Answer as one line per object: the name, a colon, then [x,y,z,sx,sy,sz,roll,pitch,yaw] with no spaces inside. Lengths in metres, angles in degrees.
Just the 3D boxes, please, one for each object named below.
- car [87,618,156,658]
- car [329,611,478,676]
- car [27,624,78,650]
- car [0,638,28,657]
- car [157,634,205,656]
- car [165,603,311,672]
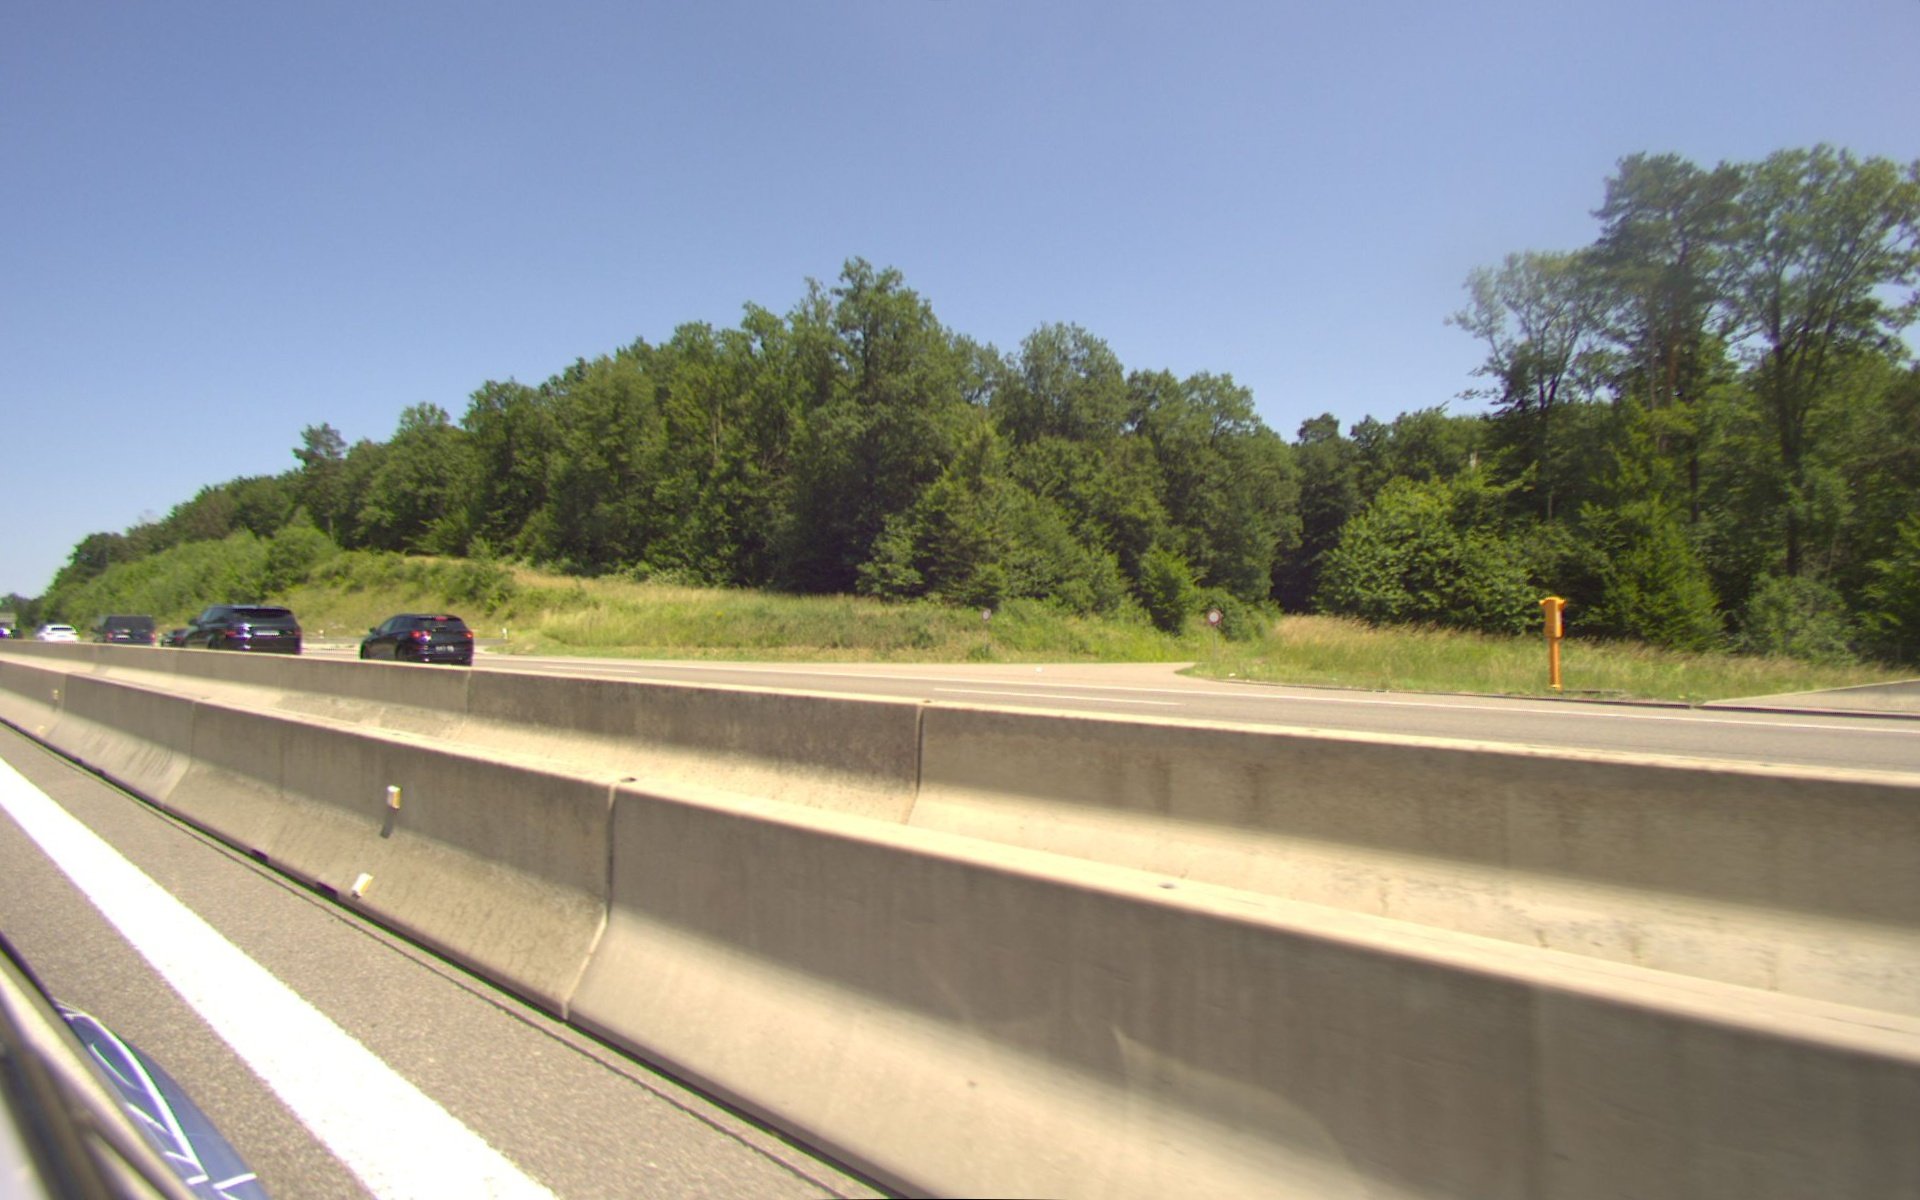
car: [-44.584,2.007,53.777,4.808,2.029,1.974,-1,-2,39]
car: [-15.977,1.240,28.948,5.277,1.687,1.973,-2,-4,41]
car: [-60.998,2.463,67.999,4.928,1.682,1.973,-1,-2,41]
car: [-80.410,3.986,85.674,4.727,1.560,1.782,-2,-3,42]
car: [-46.977,2.715,61.028,4.298,1.315,1.471,-2,-4,42]
car: [-19.611,1.036,27.406,5.277,1.686,1.973,-2,-4,41]
